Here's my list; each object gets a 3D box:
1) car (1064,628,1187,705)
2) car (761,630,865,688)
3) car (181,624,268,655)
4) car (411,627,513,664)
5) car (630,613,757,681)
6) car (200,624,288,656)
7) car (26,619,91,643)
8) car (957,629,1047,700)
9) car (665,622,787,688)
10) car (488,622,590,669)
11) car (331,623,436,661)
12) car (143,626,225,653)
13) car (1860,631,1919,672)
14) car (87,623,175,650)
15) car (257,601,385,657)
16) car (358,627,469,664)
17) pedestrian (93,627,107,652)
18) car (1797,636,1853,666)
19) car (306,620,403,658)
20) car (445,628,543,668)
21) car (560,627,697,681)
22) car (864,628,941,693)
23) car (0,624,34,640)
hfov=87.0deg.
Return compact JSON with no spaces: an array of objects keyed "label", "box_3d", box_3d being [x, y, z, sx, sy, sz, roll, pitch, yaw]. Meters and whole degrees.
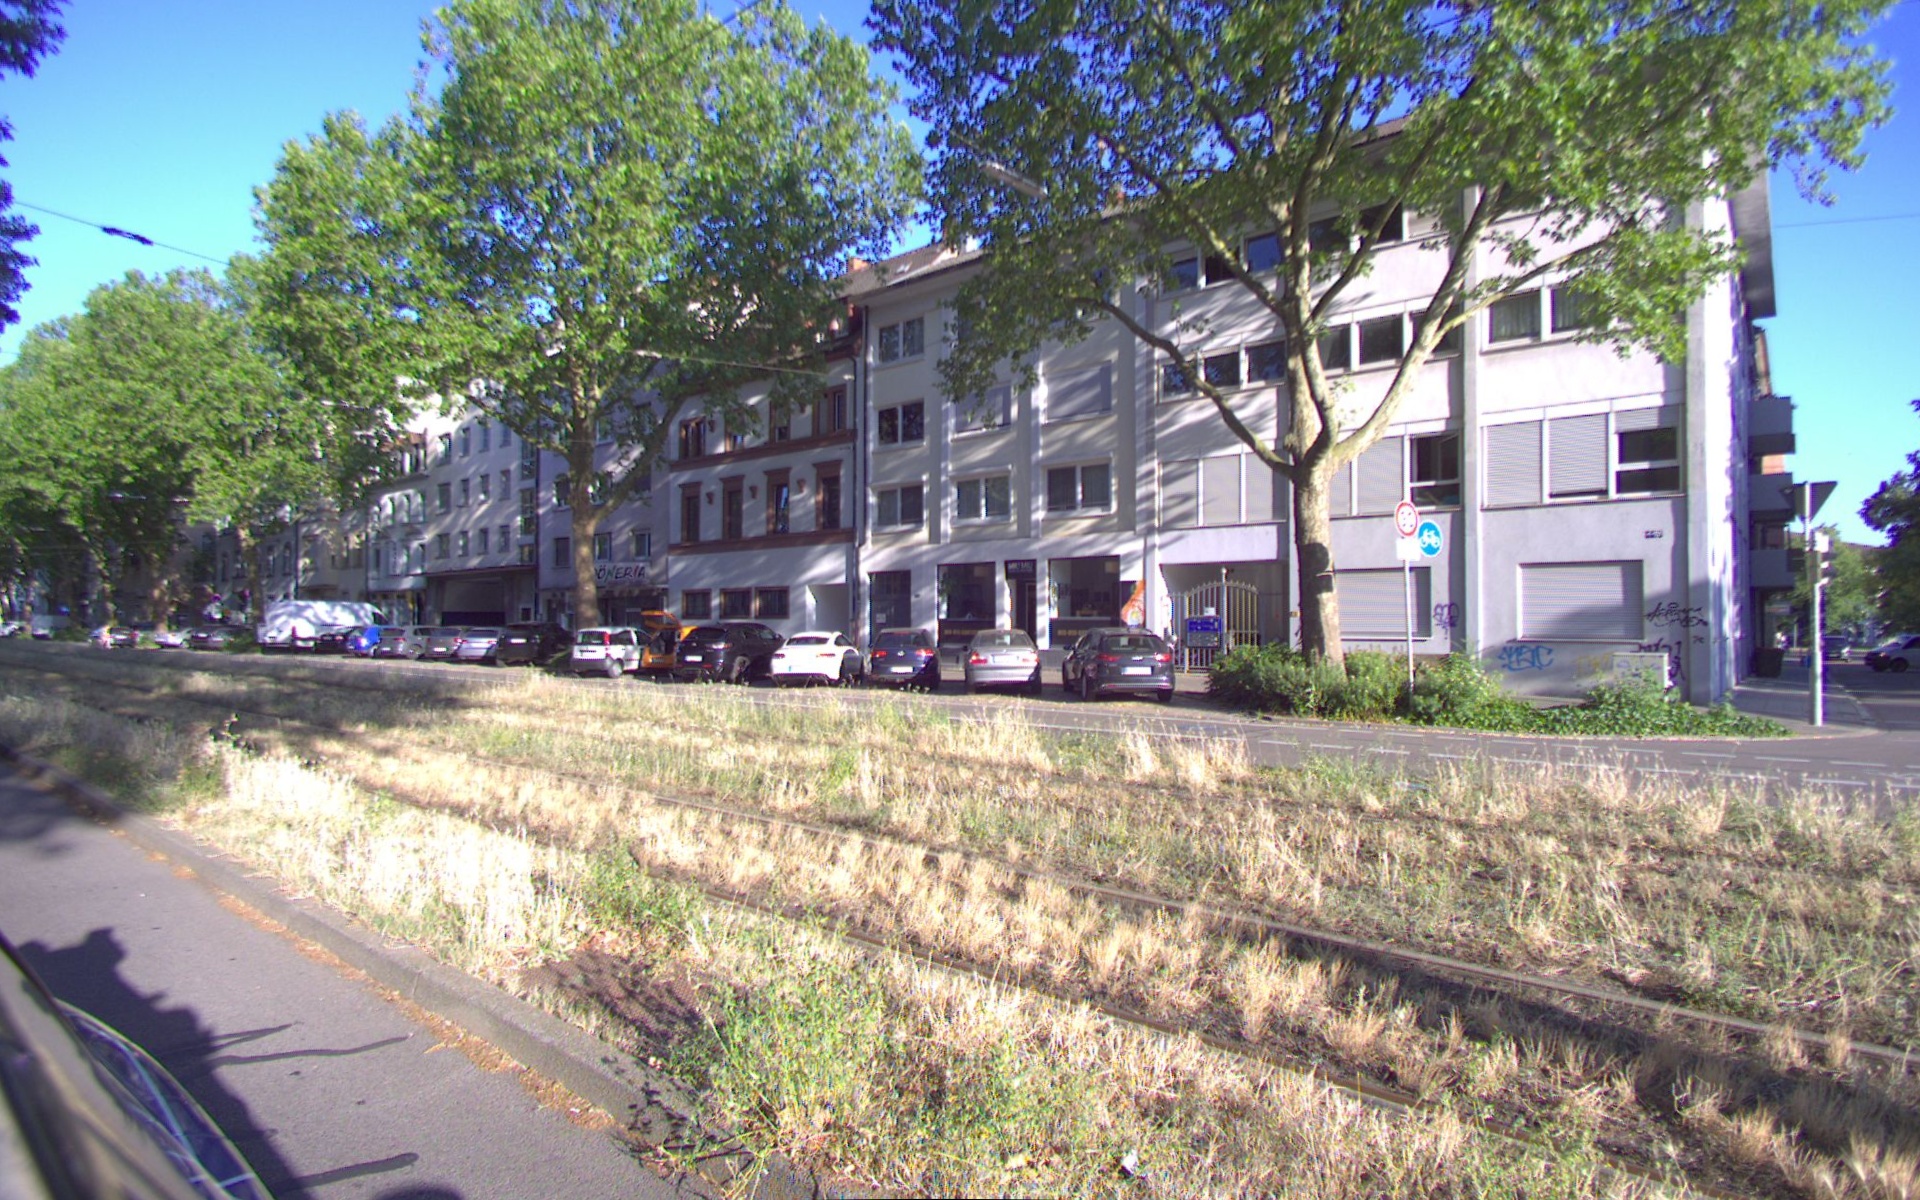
[{"label":"car","box_3d":[3.345,1.320,21.127,1.746,1.443,3.973,0,-2,-2]},{"label":"car","box_3d":[-3.760,1.497,26.631,2.123,1.388,4.257,0,-2,0]},{"label":"car","box_3d":[-45.113,2.428,62.203,1.980,1.830,3.982,0,-2,13]},{"label":"car","box_3d":[-20.432,1.840,41.766,1.883,1.468,4.251,0,-2,4]},{"label":"car","box_3d":[-8.258,1.432,31.708,1.508,1.958,4.221,-1,-2,25]},{"label":"car","box_3d":[-42.518,2.373,60.209,1.980,1.830,3.982,0,-2,13]},{"label":"car","box_3d":[-88.294,3.024,99.236,2.071,2.230,4.943,0,-2,-2]},{"label":"car","box_3d":[0.883,1.418,23.302,1.717,1.443,3.973,-1,-2,-2]},{"label":"car","box_3d":[-6.468,1.499,28.511,2.126,1.697,4.250,0,-2,6]},{"label":"car","box_3d":[-15.373,1.627,37.224,1.882,1.626,4.255,0,-2,2]},{"label":"car","box_3d":[-26.251,1.890,46.217,1.980,1.630,3.982,0,-2,13]},{"label":"car","box_3d":[-51.713,2.602,67.498,1.980,1.719,3.982,0,-2,13]},{"label":"car","box_3d":[49.313,2.603,51.110,5.372,2.029,1.991,0,-2,14]},{"label":"car","box_3d":[-55.022,2.425,67.219,1.996,1.719,4.184,-1,-2,36]},{"label":"car","box_3d":[-33.059,1.511,52.596,2.161,2.721,5.583,0,-2,16]},{"label":"car","box_3d":[-23.823,1.943,44.245,1.985,1.530,3.973,0,-2,20]},{"label":"pedestrian","box_3d":[-55.541,2.525,65.385,0.422,1.610,0.612,-1,-2,41]},{"label":"car","box_3d":[62.879,3.675,73.663,1.991,2.029,5.371,-1,-2,29]},{"label":"car","box_3d":[-30.566,1.953,51.236,1.980,1.830,3.982,0,-2,13]},{"label":"car","box_3d":[-18.071,1.830,39.453,1.582,1.470,4.251,0,-2,4]},{"label":"car","box_3d":[-10.249,1.632,31.645,1.634,1.569,4.221,-1,-2,25]},{"label":"car","box_3d":[-1.429,1.460,25.610,1.805,1.516,3.973,0,-2,-2]},{"label":"car","box_3d":[-107.080,3.608,114.000,3.937,1.827,1.876,2,-2,-40]}]
